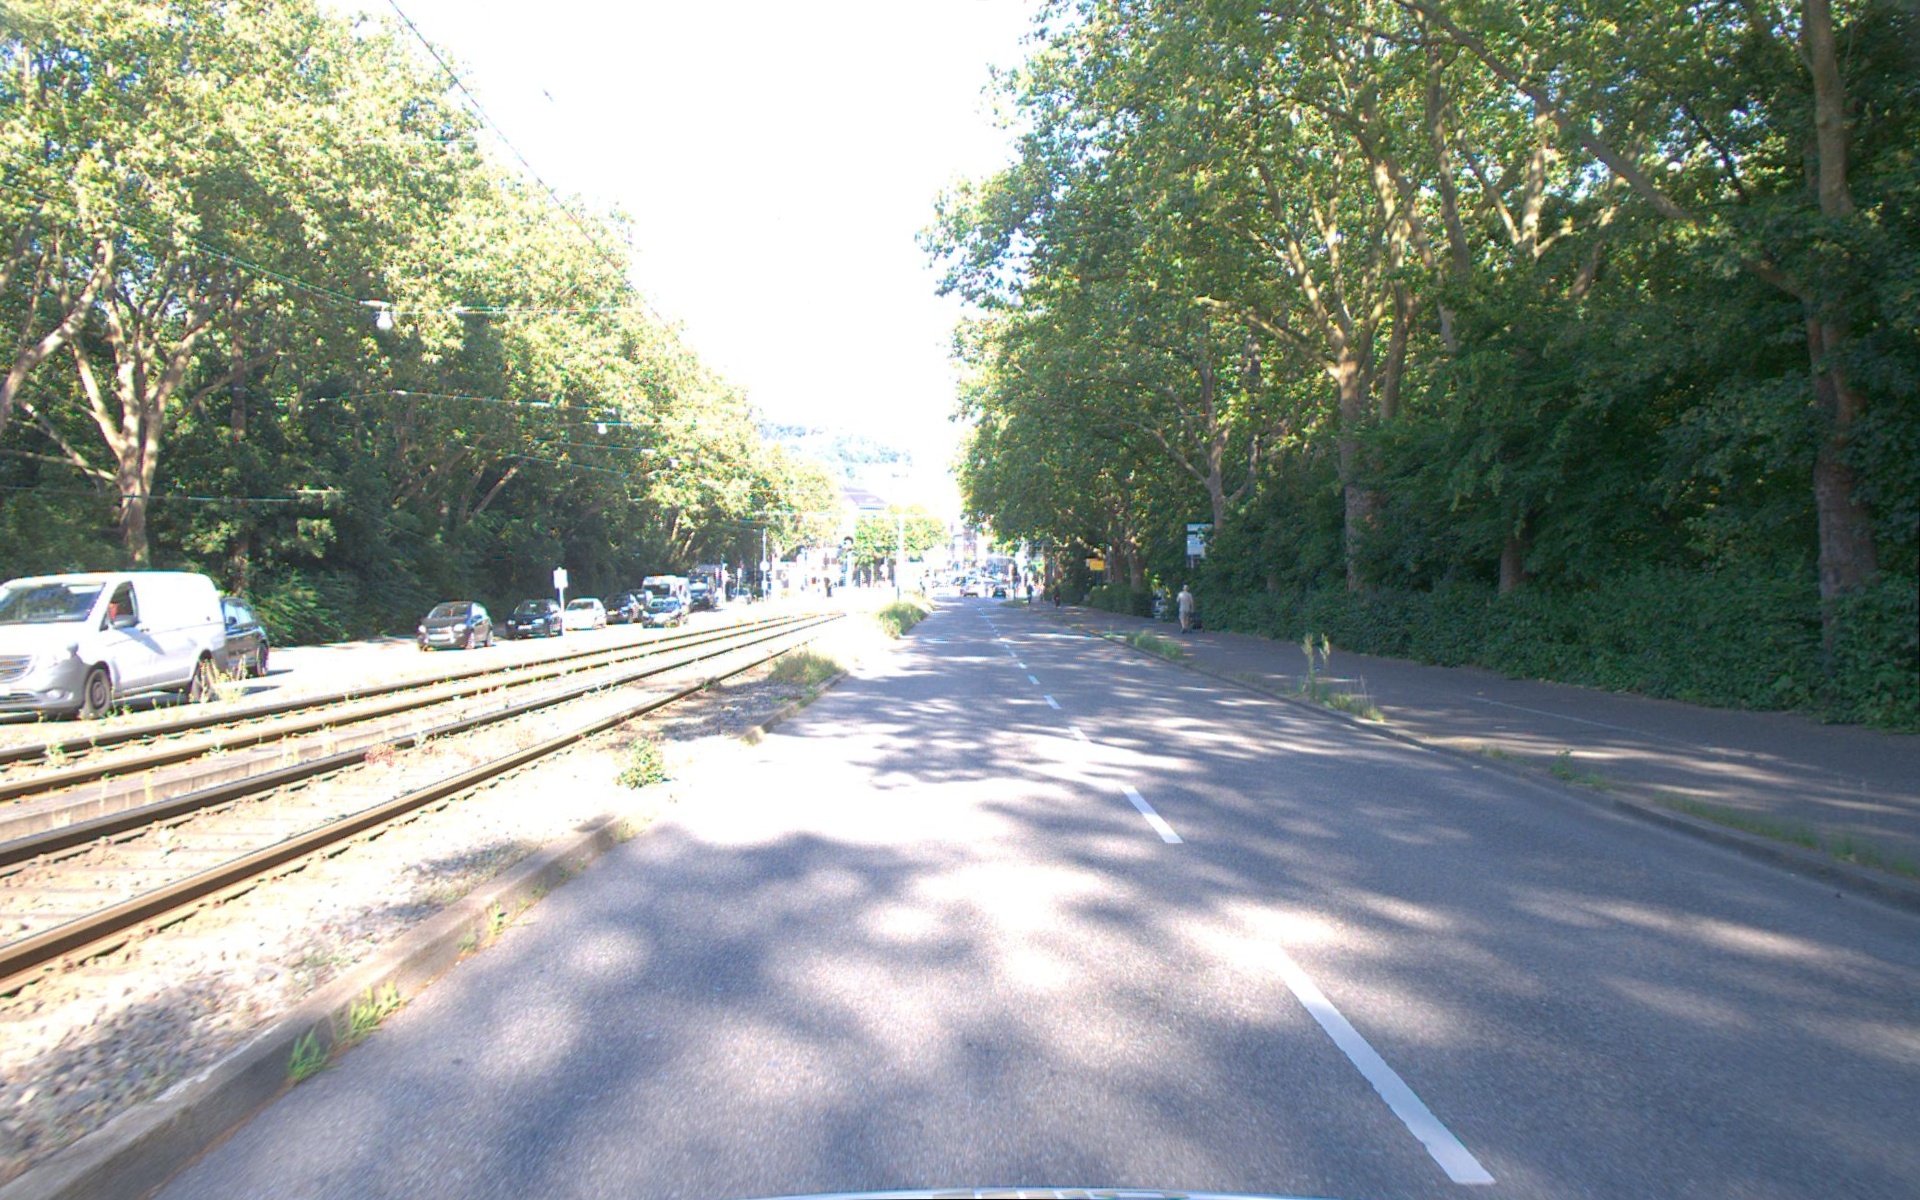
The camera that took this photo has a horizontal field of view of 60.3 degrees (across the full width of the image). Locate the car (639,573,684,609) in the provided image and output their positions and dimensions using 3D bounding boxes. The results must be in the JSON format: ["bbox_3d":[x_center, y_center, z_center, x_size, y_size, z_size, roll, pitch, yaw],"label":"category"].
[{"bbox_3d":[-18.767,-0.586,104.352,1.953,2.201,5.812,-1,0,-2],"label":"car"}]

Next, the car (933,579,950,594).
[{"bbox_3d":[-2.472,-1.805,222.318,2.345,2.034,5.305,-1,0,-1],"label":"car"}]

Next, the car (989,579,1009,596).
[{"bbox_3d":[4.895,-1.604,208.365,2.345,2.034,5.305,-1,0,-1],"label":"car"}]

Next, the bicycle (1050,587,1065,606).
[{"bbox_3d":[7.006,-0.221,119.254,0.869,1.344,2.639,-1,0,0],"label":"bicycle"}]

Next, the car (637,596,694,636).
[{"bbox_3d":[-13.597,0.715,76.658,1.953,1.726,4.742,-1,0,-2],"label":"car"}]

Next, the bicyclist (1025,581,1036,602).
[{"bbox_3d":[6.207,-0.723,145.287,0.869,1.805,1.222,-1,0,-1],"label":"bicyclist"}]

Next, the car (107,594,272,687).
[{"bbox_3d":[-15.267,0.748,32.991,1.708,1.665,3.995,-1,1,-6],"label":"car"}]

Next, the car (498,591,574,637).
[{"bbox_3d":[-16.842,0.534,65.940,1.953,1.726,4.742,-1,0,-2],"label":"car"}]

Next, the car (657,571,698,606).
[{"bbox_3d":[-18.933,-0.768,111.073,1.953,2.201,5.812,-1,0,-2],"label":"car"}]

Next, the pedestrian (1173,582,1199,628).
[{"bbox_3d":[7.763,0.163,56.894,0.787,1.573,0.814,-1,0,3],"label":"pedestrian"}]

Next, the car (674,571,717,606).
[{"bbox_3d":[-20.021,-0.836,125.379,2.345,2.567,5.899,-1,0,0],"label":"car"}]

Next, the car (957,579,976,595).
[{"bbox_3d":[0.850,-1.689,220.386,2.345,2.034,5.305,-1,0,-1],"label":"car"}]

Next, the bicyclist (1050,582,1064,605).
[{"bbox_3d":[7.008,-0.472,119.352,0.869,1.667,1.164,-1,0,-1],"label":"bicyclist"}]

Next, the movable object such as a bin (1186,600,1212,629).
[{"bbox_3d":[8.104,0.474,56.097,0.787,0.964,0.656,-1,0,3],"label":"movable object such as a bin"}]

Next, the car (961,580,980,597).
[{"bbox_3d":[1.398,-1.475,212.737,2.345,2.034,5.305,-1,0,-1],"label":"car"}]

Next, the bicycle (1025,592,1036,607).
[{"bbox_3d":[6.208,-0.050,145.374,0.869,1.344,2.639,-1,0,0],"label":"bicycle"}]

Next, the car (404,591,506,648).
[{"bbox_3d":[-16.106,0.586,53.037,1.953,1.726,4.742,-1,0,-2],"label":"car"}]

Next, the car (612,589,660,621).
[{"bbox_3d":[-18.654,0.269,95.487,1.953,1.726,4.742,-1,0,-2],"label":"car"}]

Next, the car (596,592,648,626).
[{"bbox_3d":[-18.113,0.459,88.718,1.953,1.726,4.742,-1,0,-2],"label":"car"}]

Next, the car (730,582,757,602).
[{"bbox_3d":[-19.661,-0.712,150.188,1.953,1.726,4.742,-1,0,-2],"label":"car"}]

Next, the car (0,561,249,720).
[{"bbox_3d":[-11.873,0.512,22.766,1.954,1.876,5.299,-3,0,-2],"label":"car"}]

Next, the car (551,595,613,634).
[{"bbox_3d":[-17.637,0.665,77.380,1.953,1.726,4.742,-1,0,-2],"label":"car"}]
